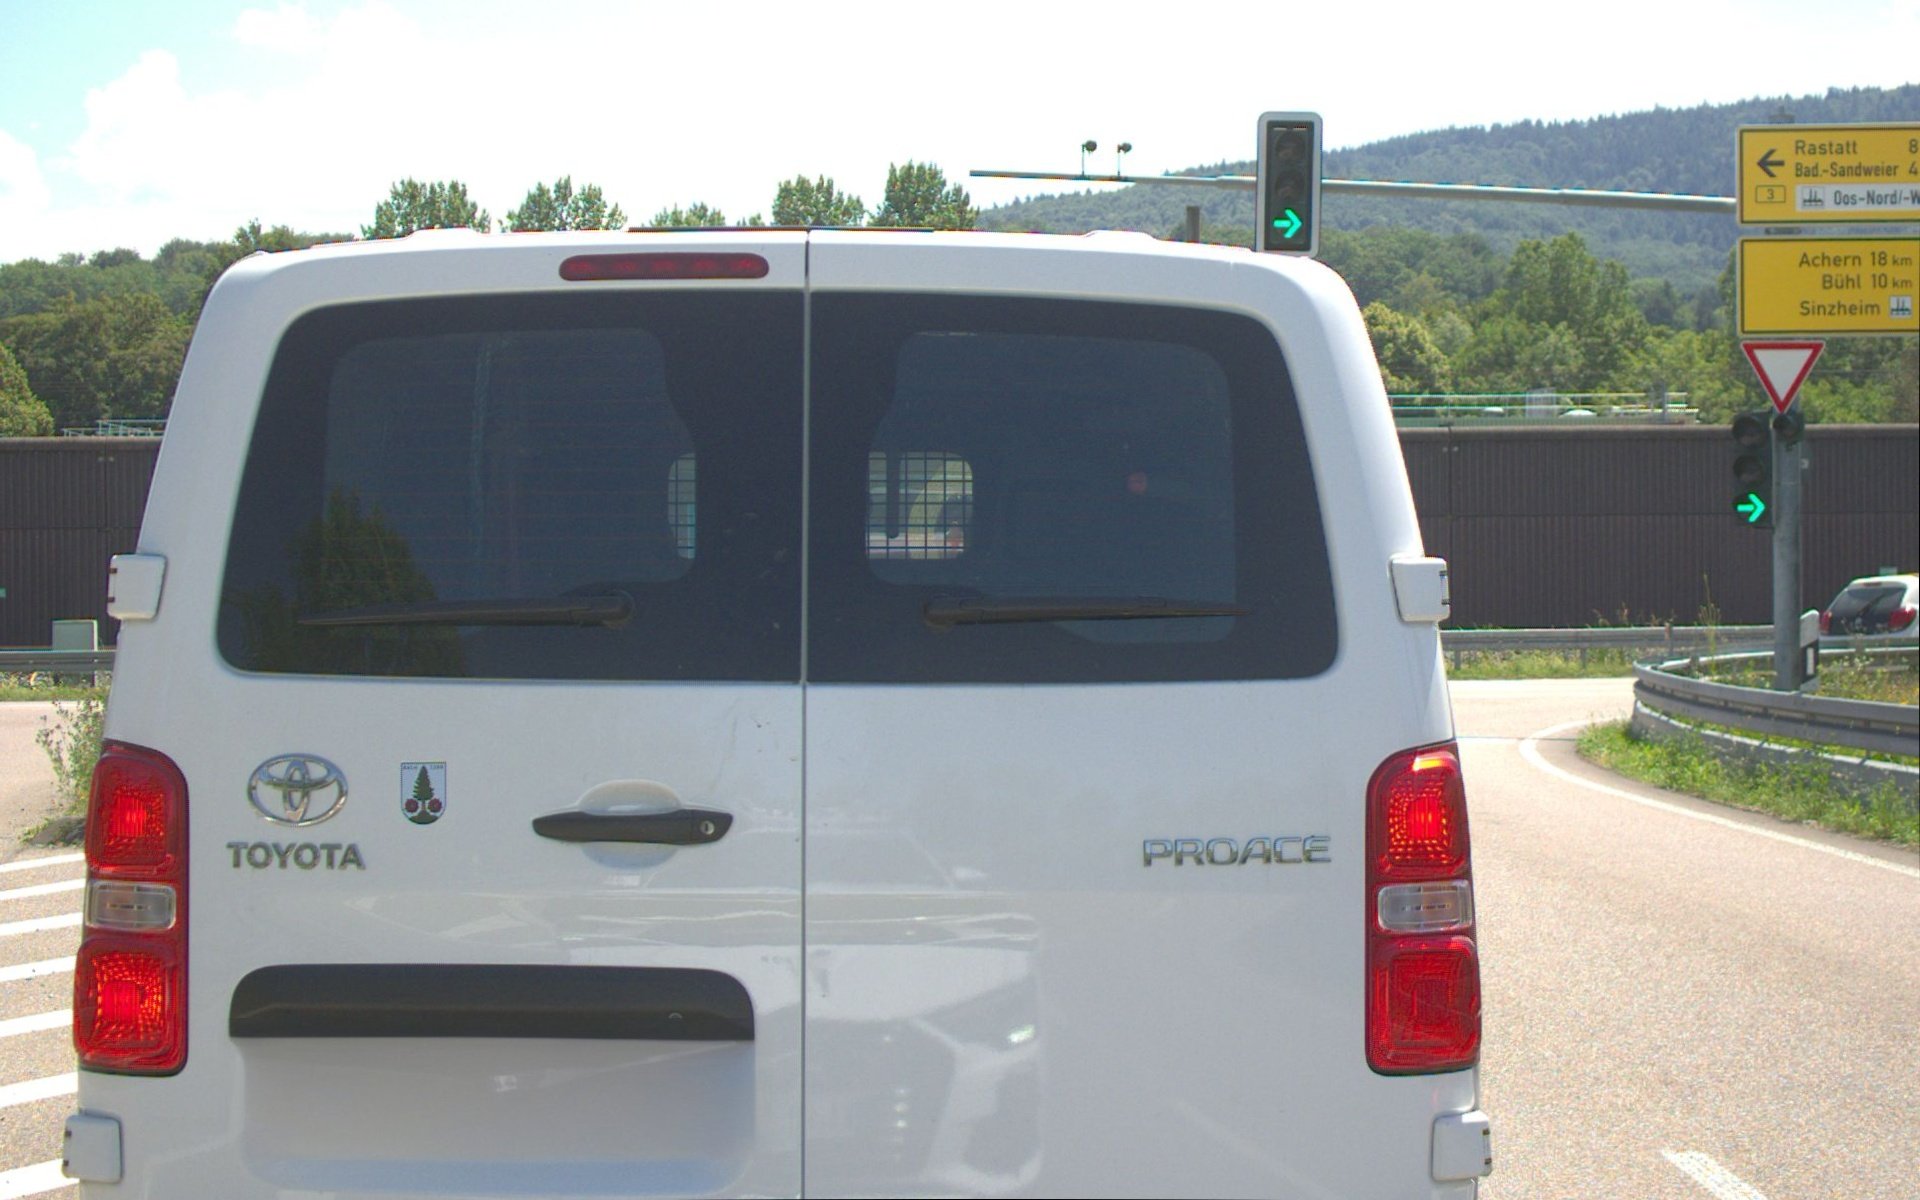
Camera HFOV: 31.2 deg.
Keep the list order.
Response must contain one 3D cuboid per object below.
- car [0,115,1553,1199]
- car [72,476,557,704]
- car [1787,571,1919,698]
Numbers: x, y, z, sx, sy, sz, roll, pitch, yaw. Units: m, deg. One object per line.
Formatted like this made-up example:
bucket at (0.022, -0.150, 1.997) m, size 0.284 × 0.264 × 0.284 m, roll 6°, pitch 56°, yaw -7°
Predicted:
car at (-0.250, 0.430, 5.952) m, size 1.814 × 2.011 × 4.000 m, roll 0°, pitch 1°, yaw -1°
car at (-7.264, -0.174, 39.336) m, size 1.997 × 2.408 × 5.579 m, roll -1°, pitch 1°, yaw 35°
car at (11.984, 0.408, 41.672) m, size 3.591 × 1.473 × 1.570 m, roll 1°, pitch 1°, yaw -25°
